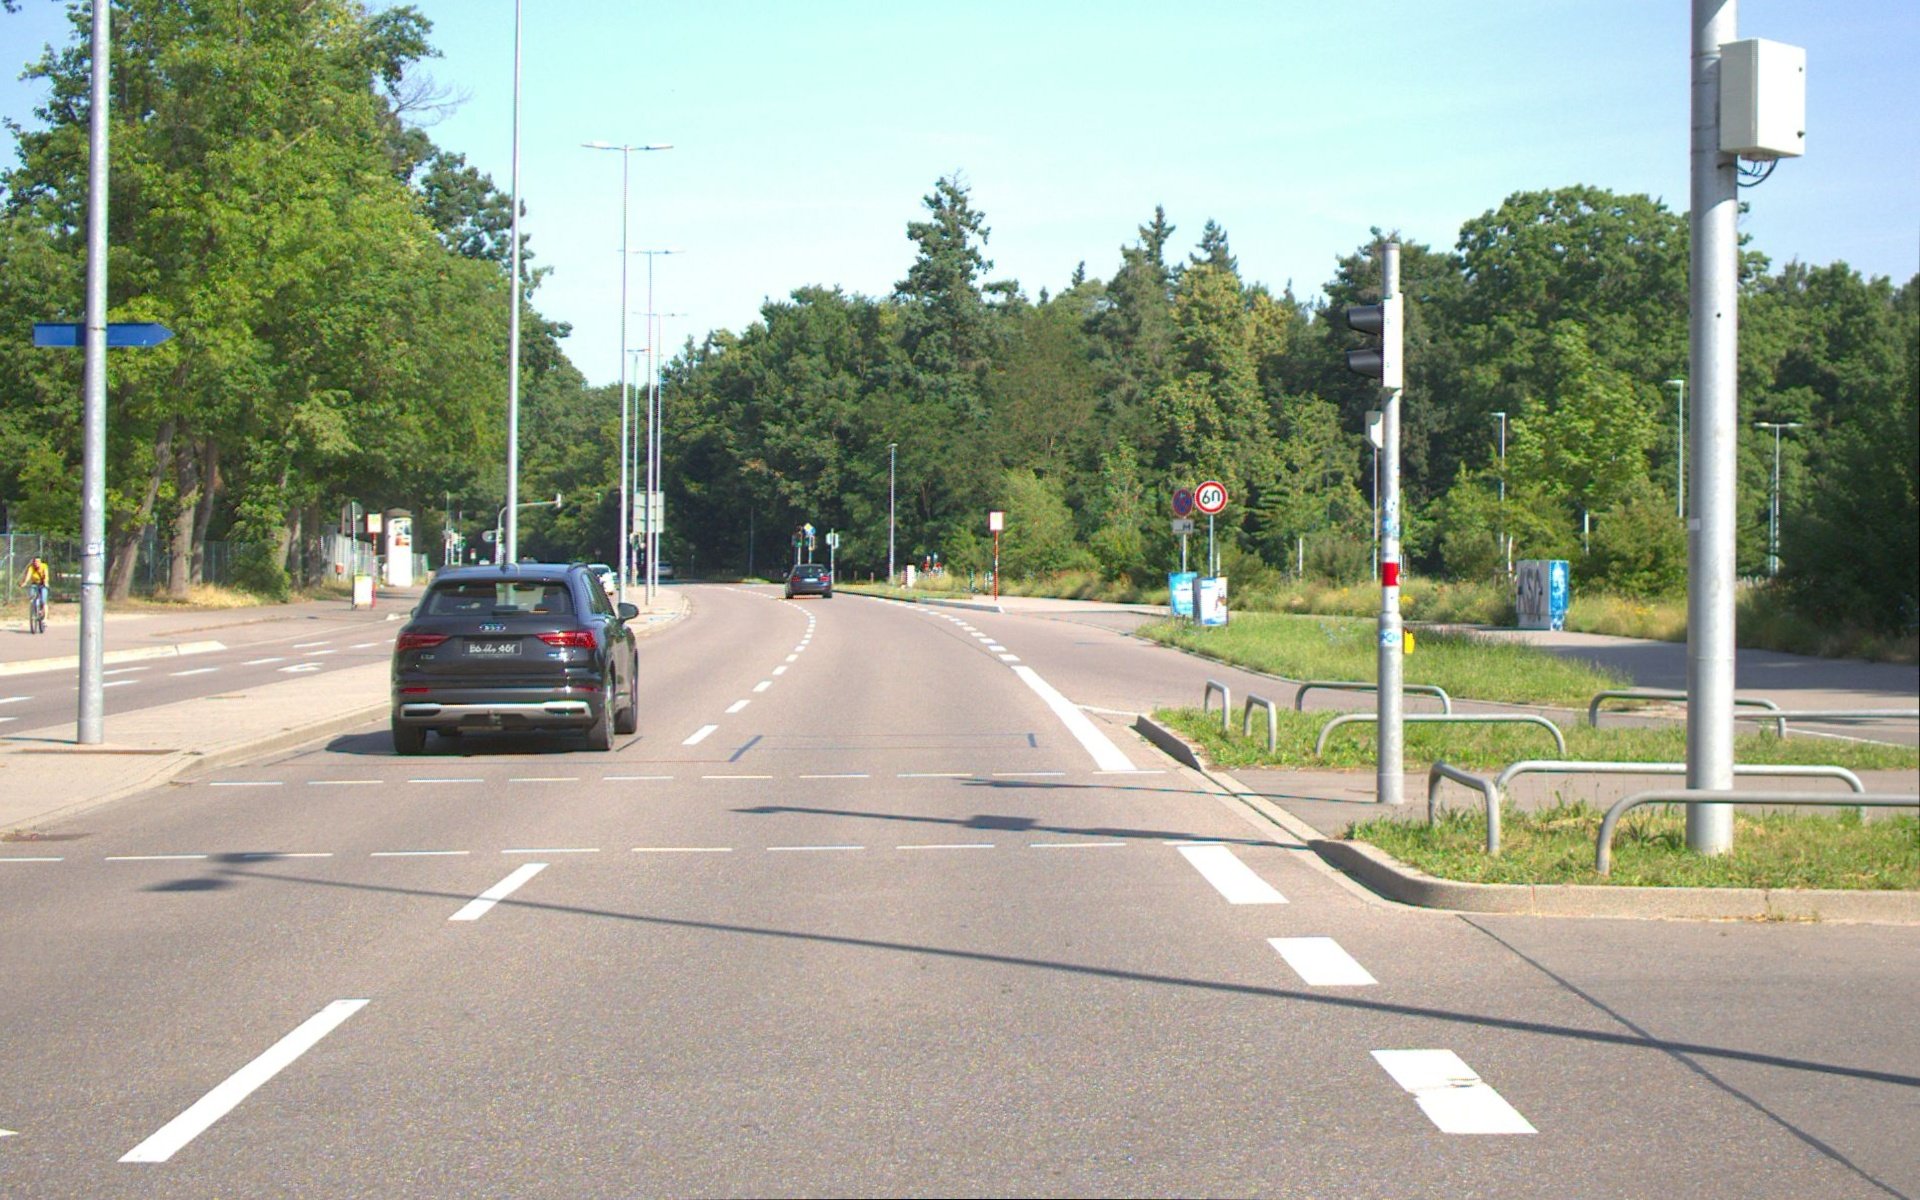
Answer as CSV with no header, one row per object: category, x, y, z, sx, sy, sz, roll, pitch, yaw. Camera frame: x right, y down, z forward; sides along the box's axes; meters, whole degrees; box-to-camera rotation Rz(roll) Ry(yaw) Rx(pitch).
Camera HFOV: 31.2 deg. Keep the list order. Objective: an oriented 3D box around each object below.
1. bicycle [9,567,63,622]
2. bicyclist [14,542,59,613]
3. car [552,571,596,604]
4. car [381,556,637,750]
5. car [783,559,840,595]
bicycle,-19.514,-0.123,72.607,0.659,1.132,1.879,2,1,-2
bicyclist,-19.488,-0.485,72.595,0.659,1.462,1.057,2,1,-2
car,-17.154,-0.560,152.688,1.810,1.383,4.162,-2,1,-7
car,-3.827,0.403,29.767,1.687,1.539,4.149,-1,1,0
car,-6.139,-0.960,141.443,1.940,1.415,4.294,0,1,-8
